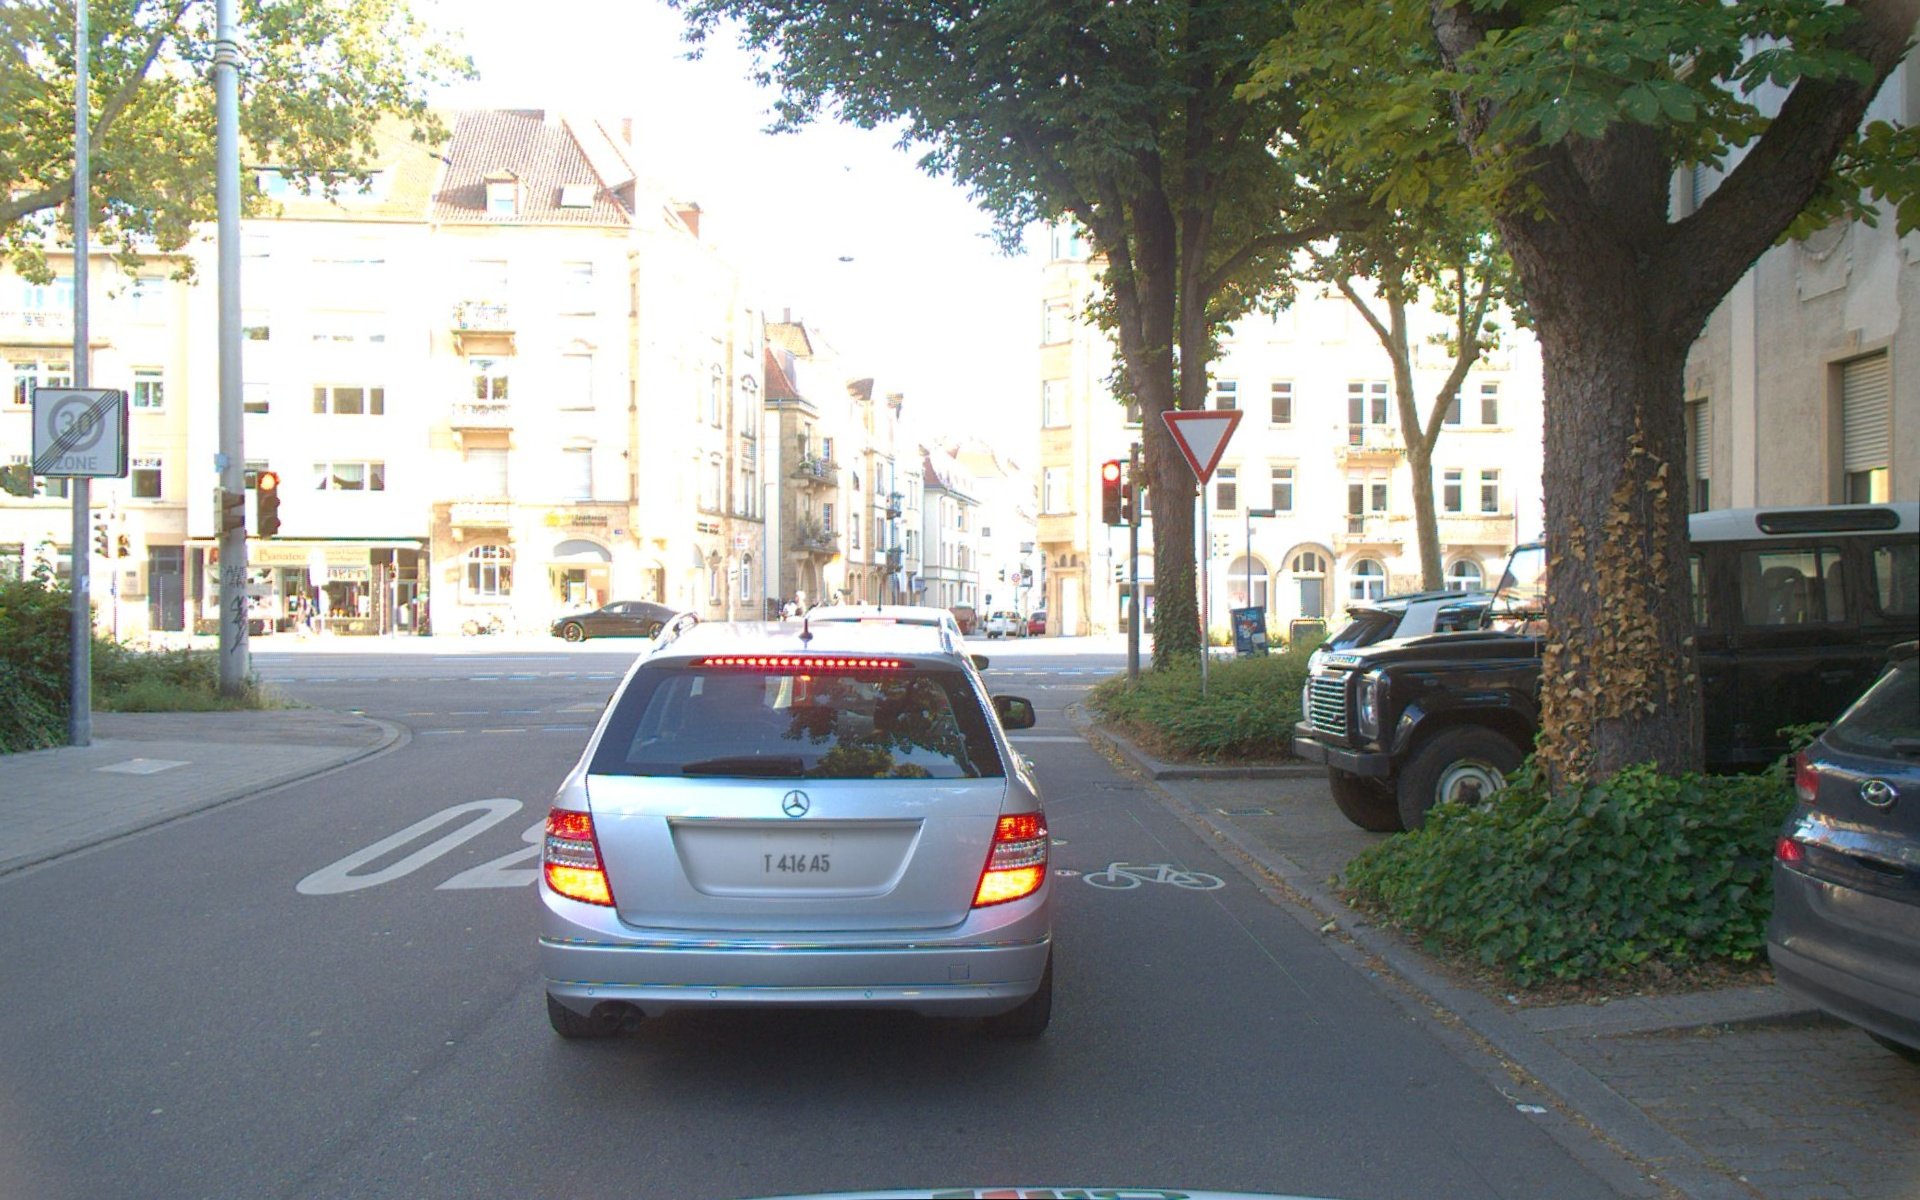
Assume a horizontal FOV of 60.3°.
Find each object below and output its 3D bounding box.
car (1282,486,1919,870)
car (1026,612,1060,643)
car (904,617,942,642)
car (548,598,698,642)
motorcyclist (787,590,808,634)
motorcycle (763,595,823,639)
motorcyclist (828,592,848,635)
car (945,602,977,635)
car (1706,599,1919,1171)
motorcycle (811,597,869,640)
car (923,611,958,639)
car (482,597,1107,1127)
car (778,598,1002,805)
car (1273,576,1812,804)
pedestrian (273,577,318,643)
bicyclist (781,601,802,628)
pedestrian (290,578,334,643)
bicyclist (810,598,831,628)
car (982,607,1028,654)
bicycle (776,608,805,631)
[{"bbox_3d":[4.370,0.416,10.175,4.377,2.072,1.699,-1,0,-4],"label":"car"},{"bbox_3d":[5.128,1.659,101.977,1.796,1.775,4.003,0,1,7],"label":"car"},{"bbox_3d":[-2.262,1.824,102.462,1.796,1.427,4.003,0,1,7],"label":"car"},{"bbox_3d":[-11.391,0.662,56.127,4.788,1.477,1.857,0,0,-5],"label":"car"},{"bbox_3d":[-5.500,0.415,55.932,0.668,1.477,0.568,0,0,-5],"label":"motorcyclist"},{"bbox_3d":[-5.632,0.574,55.925,1.993,1.477,0.568,0,0,-5],"label":"motorcycle"},{"bbox_3d":[-4.251,0.470,57.536,0.668,1.477,0.568,0,0,-5],"label":"motorcyclist"},{"bbox_3d":[0.096,1.283,117.325,1.749,2.242,4.003,0,1,7],"label":"car"},{"bbox_3d":[4.284,0.706,4.596,3.650,1.477,1.707,-1,0,-4],"label":"car"},{"bbox_3d":[-4.182,0.628,57.541,1.993,1.477,0.568,0,0,-5],"label":"motorcycle"},{"bbox_3d":[-1.258,1.635,108.710,1.796,1.692,4.003,0,1,7],"label":"car"},{"bbox_3d":[-0.551,0.741,6.934,1.741,1.477,4.546,1,0,-2],"label":"car"},{"bbox_3d":[-0.590,0.730,14.024,1.587,1.472,4.342,1,0,-2],"label":"car"},{"bbox_3d":[4.511,0.663,13.143,3.650,1.597,1.707,-1,0,-4],"label":"car"},{"bbox_3d":[-25.358,0.384,63.169,1.320,2.507,1.059,0,0,-5],"label":"pedestrian"},{"bbox_3d":[-7.479,0.642,73.331,0.754,1.177,0.753,1,0,10],"label":"bicyclist"},{"bbox_3d":[-25.234,0.404,64.382,1.320,2.507,1.059,0,0,-5],"label":"pedestrian"},{"bbox_3d":[-6.199,0.584,73.361,0.754,1.312,0.753,1,0,10],"label":"bicyclist"},{"bbox_3d":[2.363,1.556,85.904,1.987,2.319,4.003,0,1,7],"label":"car"},{"bbox_3d":[-7.498,0.868,73.252,0.754,0.956,1.942,1,0,10],"label":"bicycle"}]
